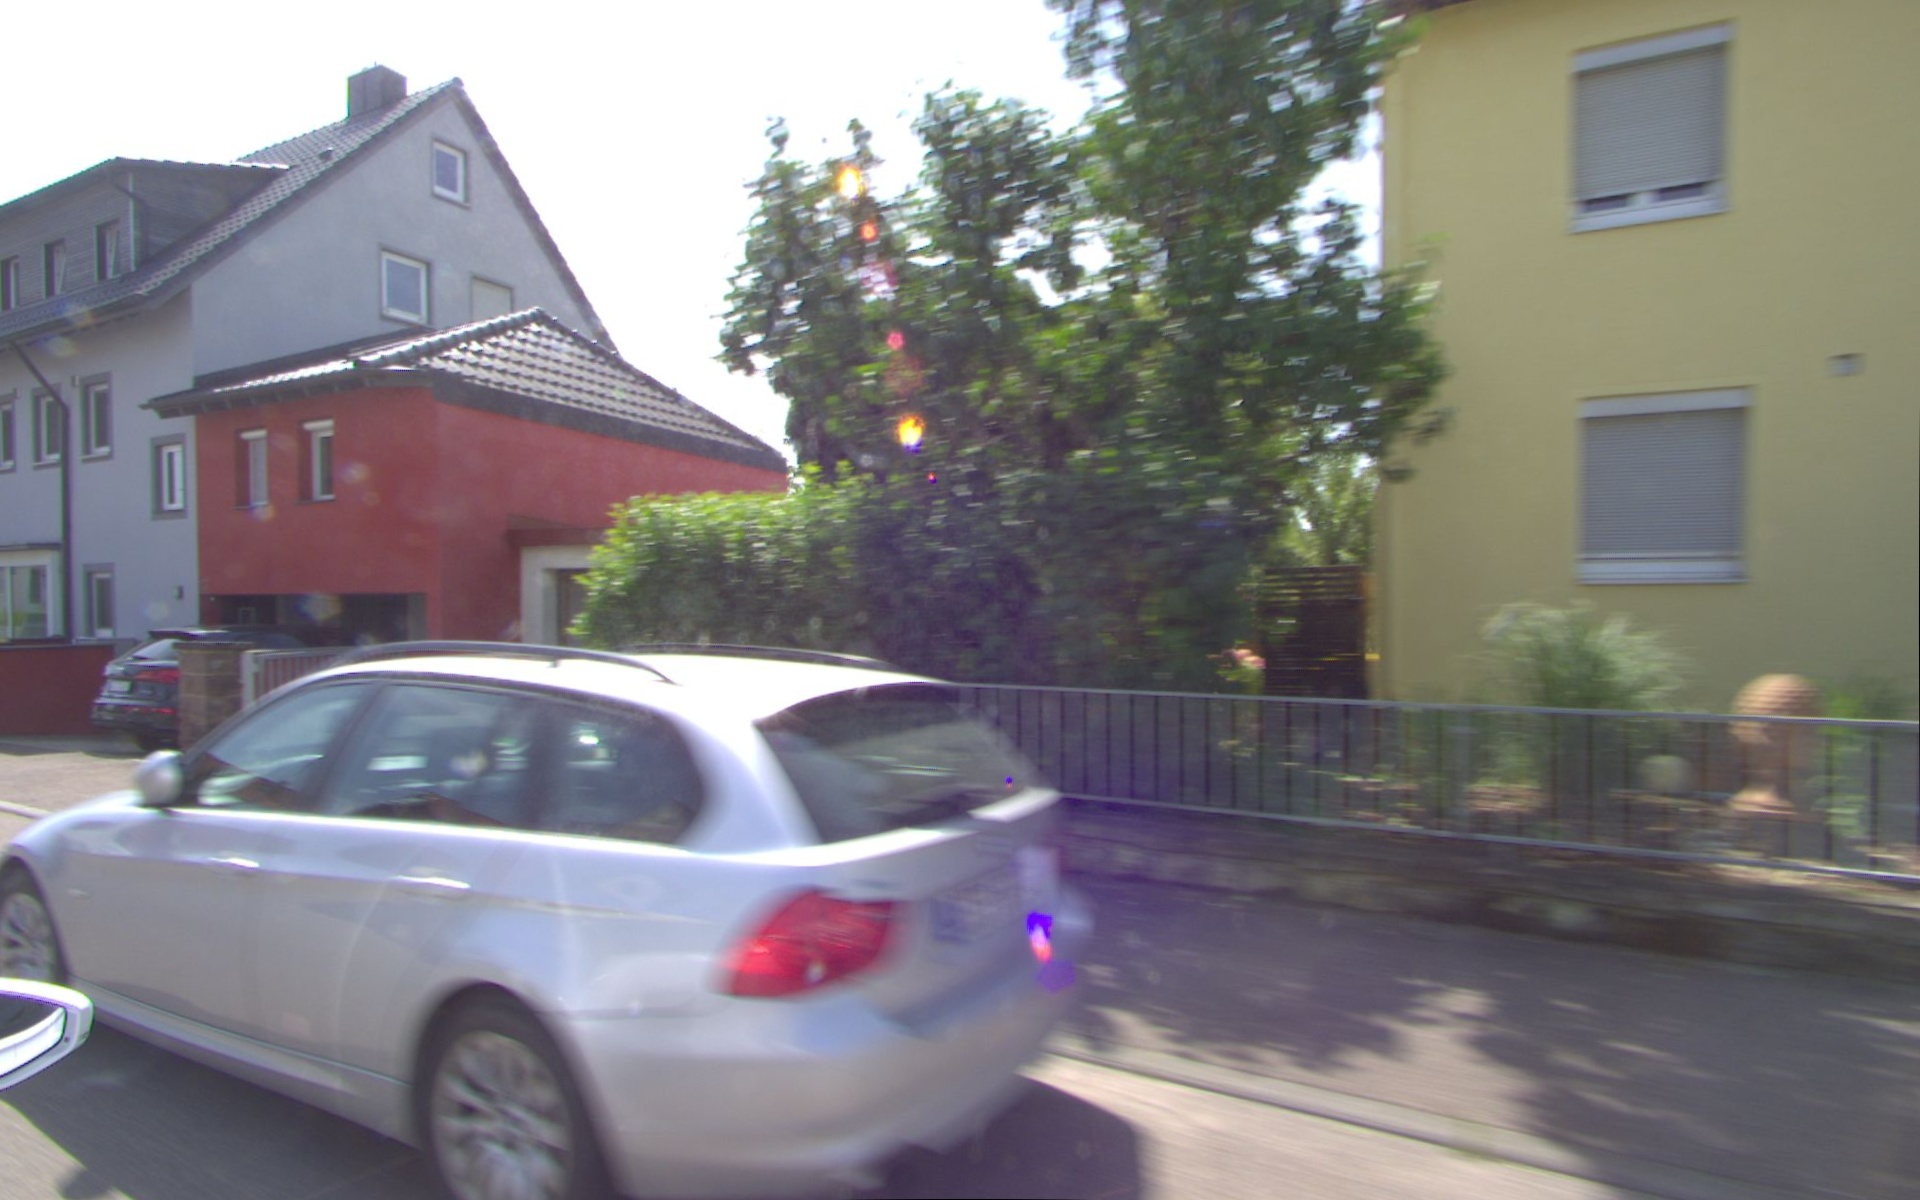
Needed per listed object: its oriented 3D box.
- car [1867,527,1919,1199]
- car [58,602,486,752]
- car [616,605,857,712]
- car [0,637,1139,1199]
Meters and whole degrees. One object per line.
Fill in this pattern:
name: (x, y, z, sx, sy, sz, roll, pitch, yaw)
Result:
car: (3.480, 0.659, 0.436, 4.272, 1.683, 1.734, -1, -2, 30)
car: (-9.050, 1.114, 13.649, 1.848, 1.687, 4.372, 0, -6, 28)
car: (-3.542, 0.858, 16.590, 1.761, 1.485, 3.950, 1, 1, 28)
car: (-1.725, 0.875, 3.632, 4.355, 1.439, 1.750, -1, -2, 30)
